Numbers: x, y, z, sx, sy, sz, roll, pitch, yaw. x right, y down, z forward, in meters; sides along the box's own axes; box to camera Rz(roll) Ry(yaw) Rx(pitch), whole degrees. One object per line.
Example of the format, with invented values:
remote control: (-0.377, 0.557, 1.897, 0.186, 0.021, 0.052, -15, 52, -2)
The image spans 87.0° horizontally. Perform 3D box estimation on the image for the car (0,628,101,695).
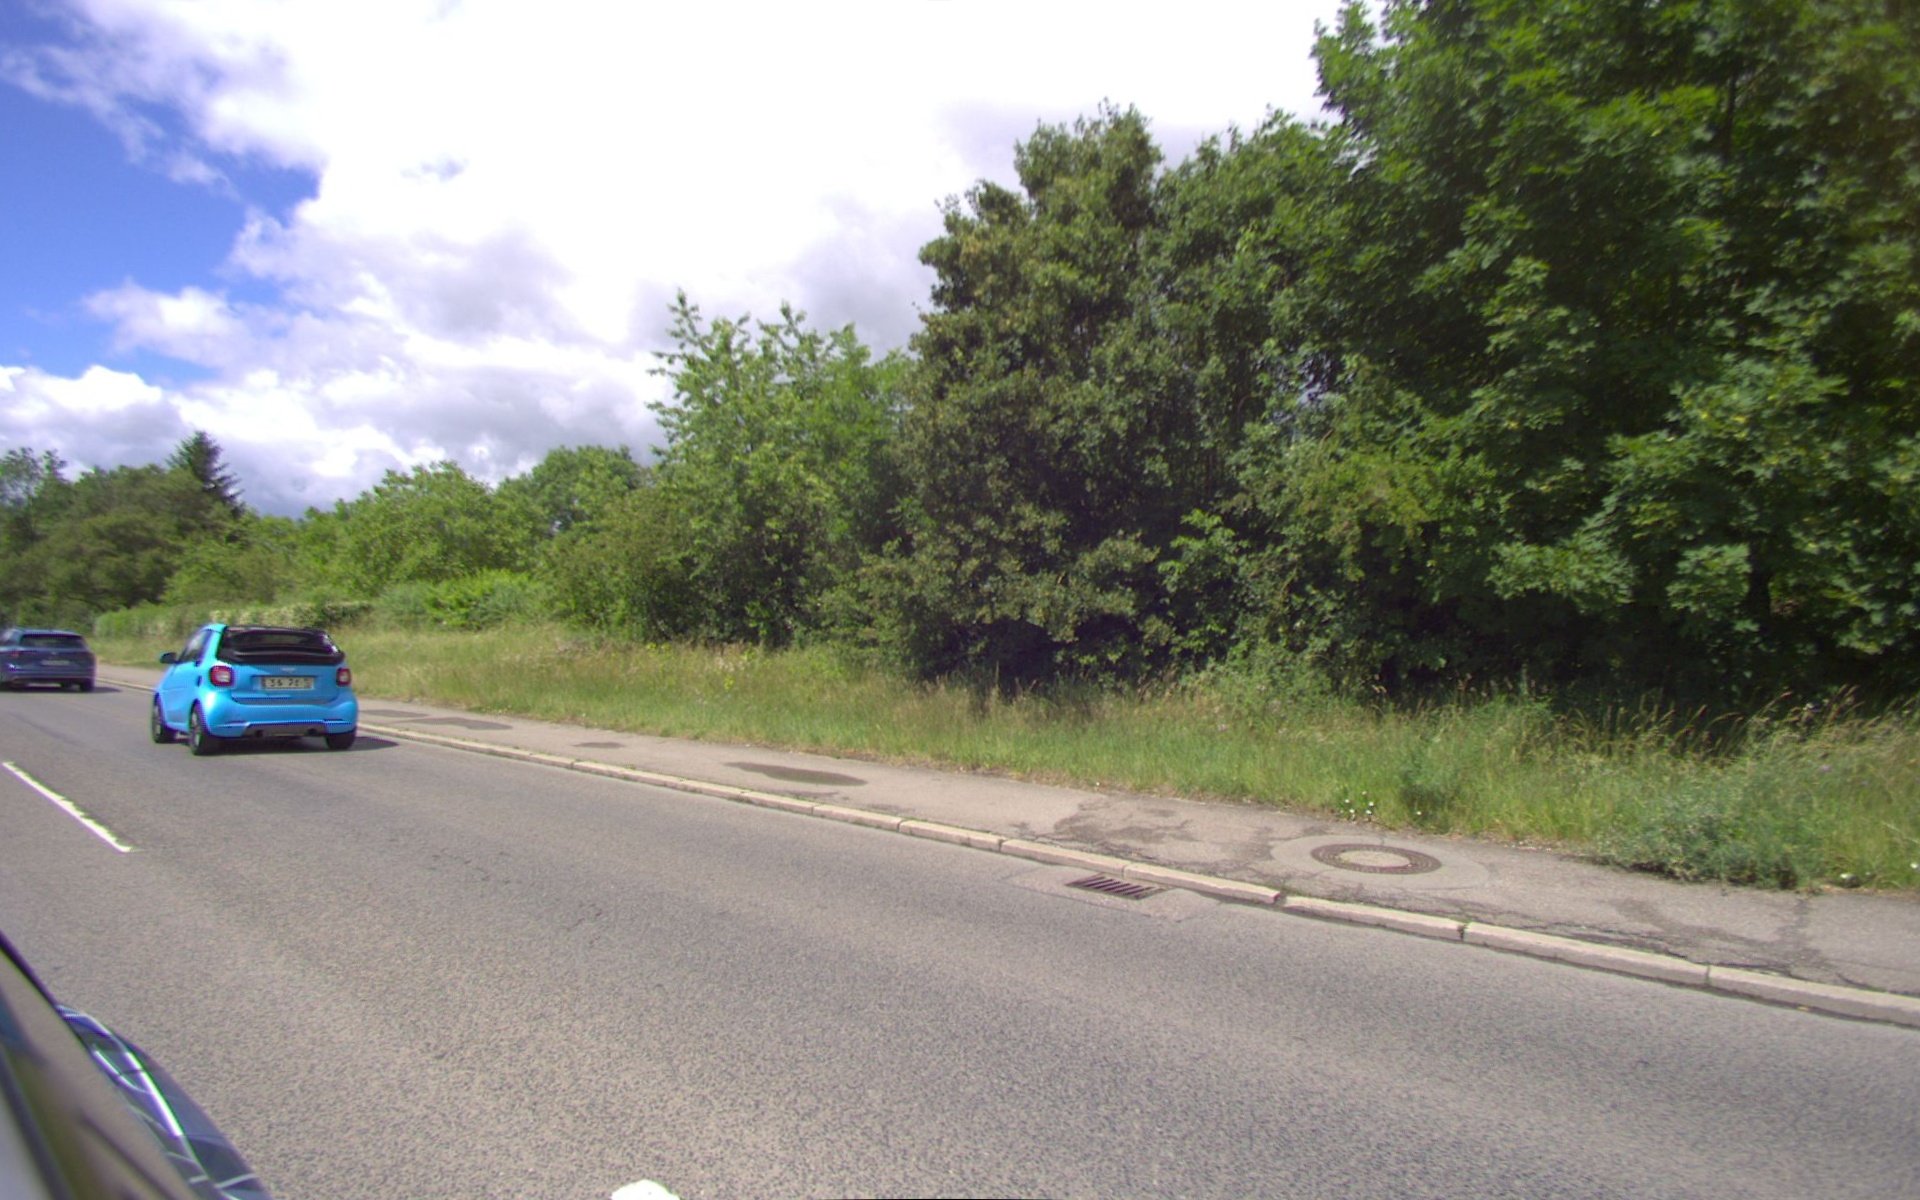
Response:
car: (-21.976, 1.426, 23.895, 4.448, 1.458, 1.766, -2, -5, 40)

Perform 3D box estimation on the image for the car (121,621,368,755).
car: (-9.000, 1.045, 12.690, 2.963, 1.458, 1.766, -2, -5, 40)
